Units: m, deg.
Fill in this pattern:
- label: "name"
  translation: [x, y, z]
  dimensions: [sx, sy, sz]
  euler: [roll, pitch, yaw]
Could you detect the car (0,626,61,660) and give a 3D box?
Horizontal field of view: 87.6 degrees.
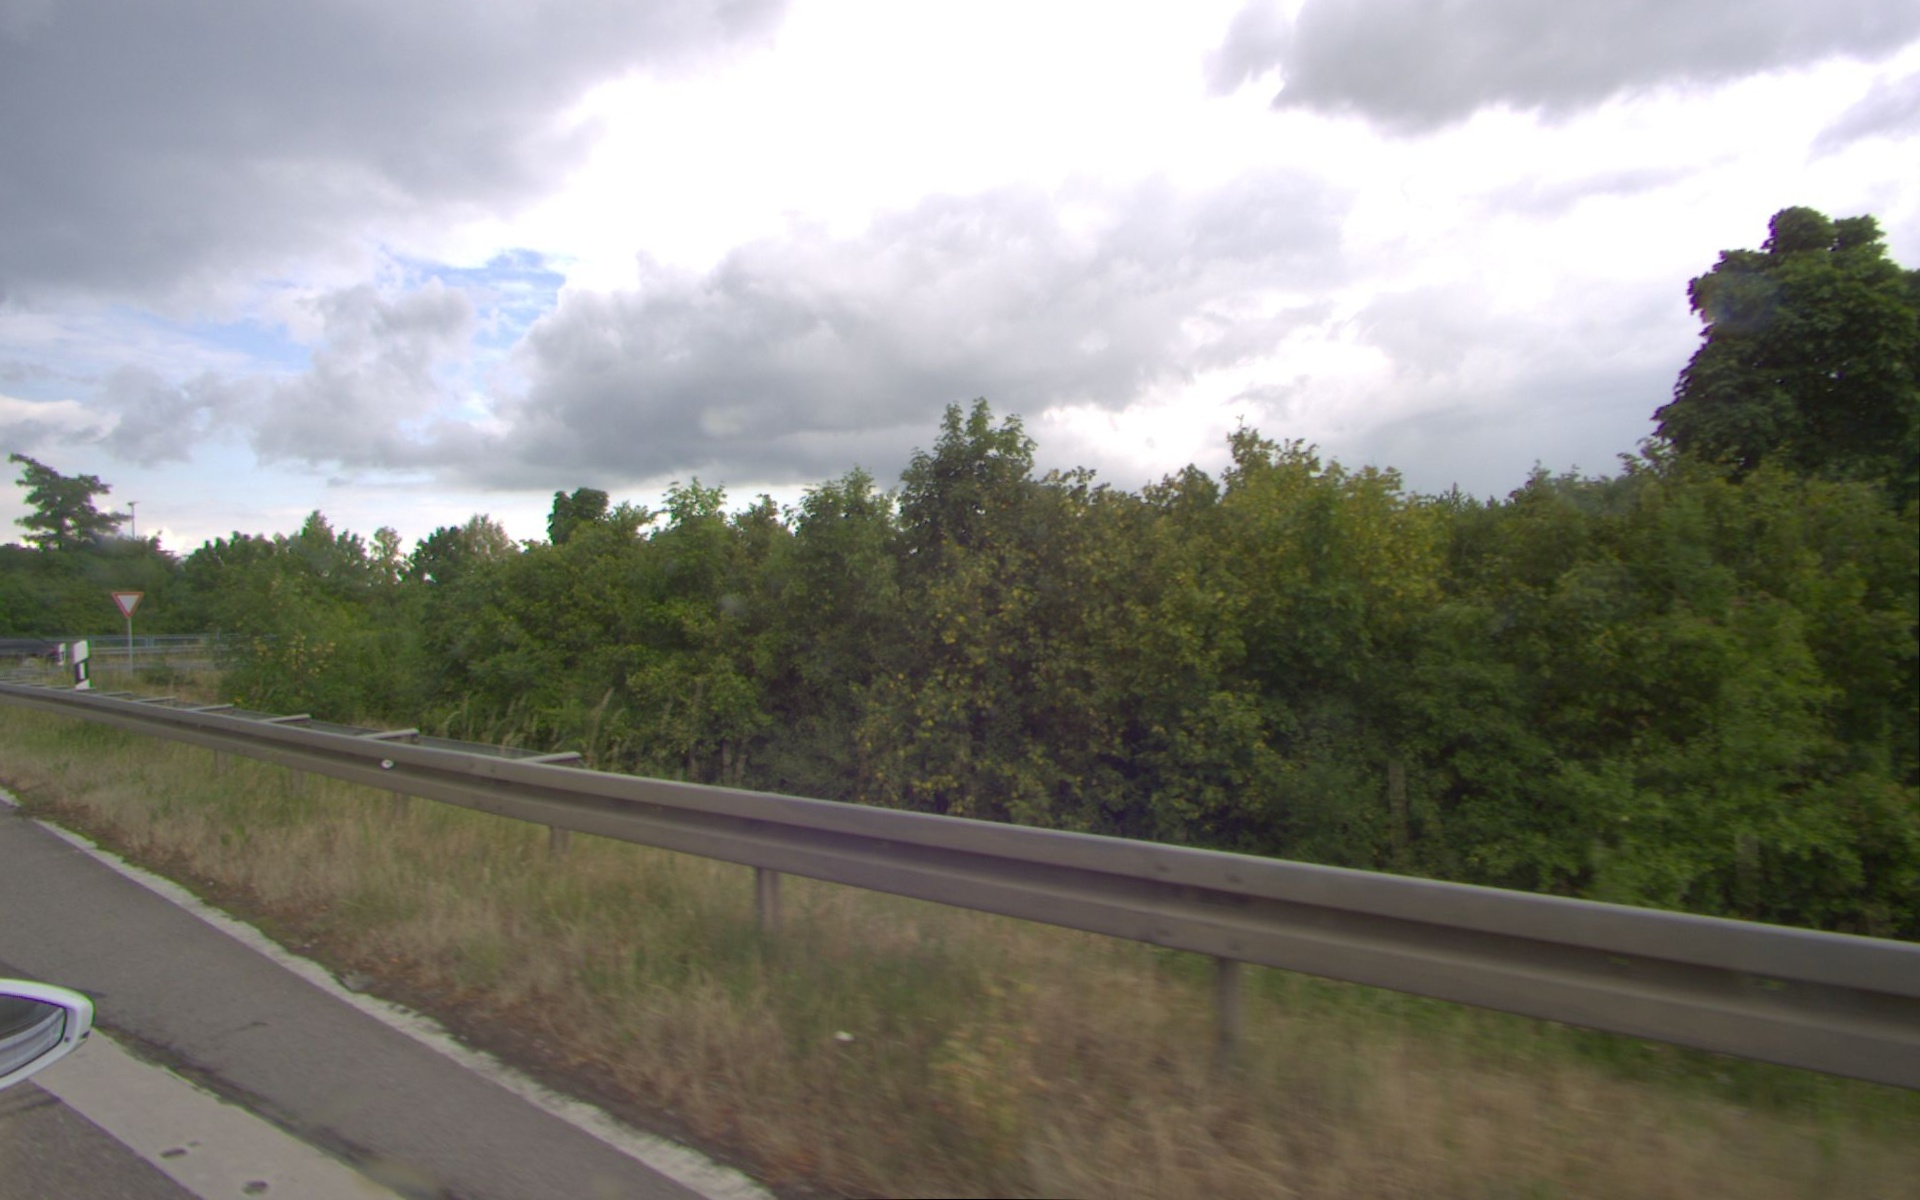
- label: "car"
  translation: [-38.832, 1.694, 39.813]
  dimensions: [4.532, 1.350, 1.687]
  euler: [2, -2, -42]
